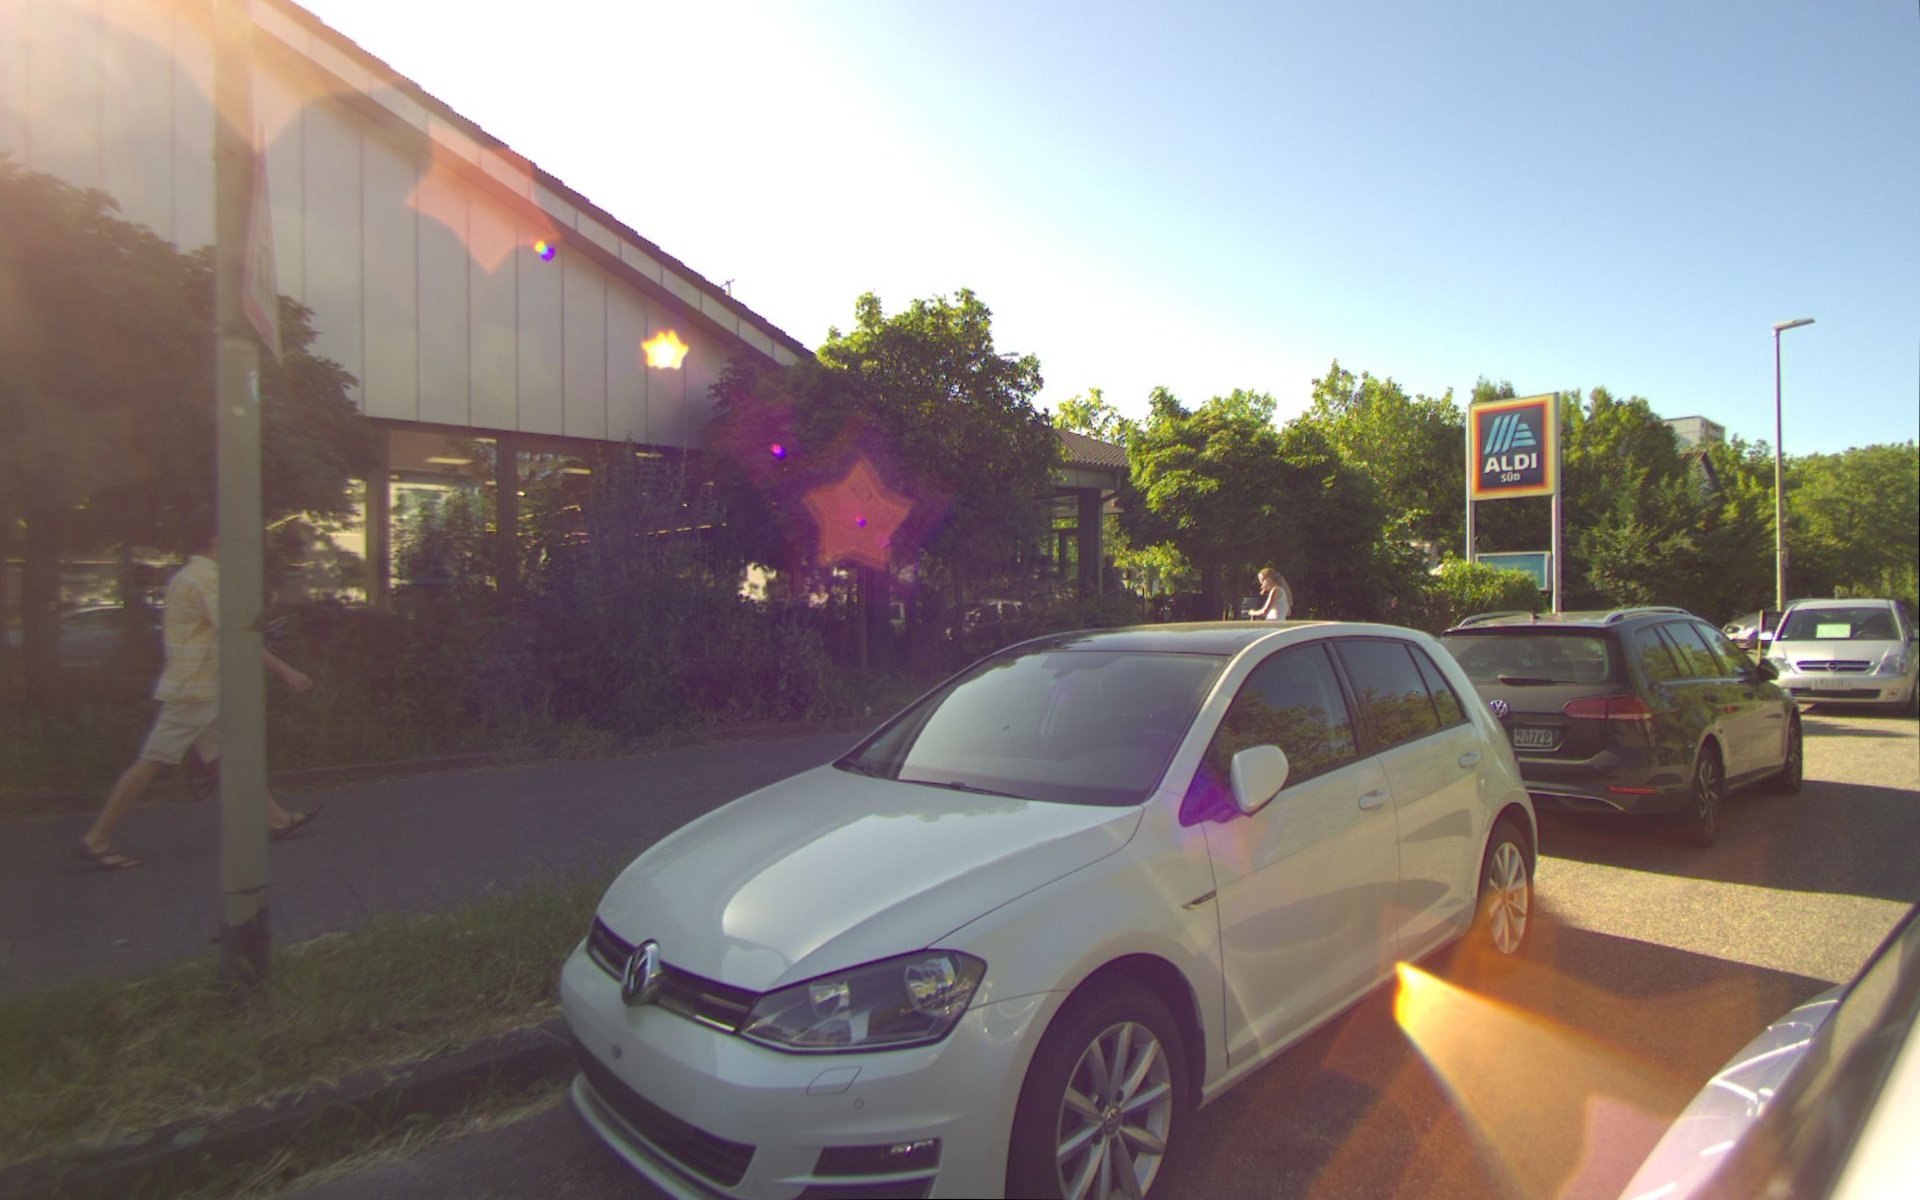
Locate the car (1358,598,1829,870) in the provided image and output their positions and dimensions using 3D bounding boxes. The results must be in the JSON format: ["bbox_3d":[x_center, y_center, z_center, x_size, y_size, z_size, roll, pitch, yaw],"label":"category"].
[{"bbox_3d":[4.907,0.727,7.574,4.287,1.462,1.810,0,0,-41],"label":"car"}]

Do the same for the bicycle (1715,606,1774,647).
[{"bbox_3d":[25.450,0.833,32.817,1.857,1.235,0.724,-1,2,-25],"label":"bicycle"}]

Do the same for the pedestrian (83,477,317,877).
[{"bbox_3d":[-4.024,0.361,5.367,0.793,1.885,0.861,-1,-1,42],"label":"pedestrian"}]

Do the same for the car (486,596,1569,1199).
[{"bbox_3d":[0.596,0.741,3.772,3.932,1.470,1.828,-1,0,-43],"label":"car"}]

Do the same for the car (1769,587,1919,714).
[{"bbox_3d":[13.321,0.636,14.946,3.963,1.619,1.680,-1,0,-45],"label":"car"}]

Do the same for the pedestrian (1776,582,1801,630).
[{"bbox_3d":[29.091,0.192,35.536,0.780,1.629,0.573,-2,3,-44],"label":"pedestrian"}]

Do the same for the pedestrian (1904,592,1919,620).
[{"bbox_3d":[57.210,0.378,60.762,0.629,1.659,0.641,0,0,-38],"label":"pedestrian"}]

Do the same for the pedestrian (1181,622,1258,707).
[{"bbox_3d":[3.224,0.786,12.576,0.794,0.993,0.534,0,0,-33],"label":"pedestrian"}]

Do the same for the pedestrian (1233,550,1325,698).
[{"bbox_3d":[4.036,0.289,12.822,0.793,1.804,0.801,0,0,-33],"label":"pedestrian"}]

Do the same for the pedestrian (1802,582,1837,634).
[{"bbox_3d":[29.651,0.273,34.929,0.968,1.738,0.804,-2,3,-44],"label":"pedestrian"}]

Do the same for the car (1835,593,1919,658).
[{"bbox_3d":[25.731,0.649,26.557,3.705,1.666,1.846,0,0,18],"label":"car"}]

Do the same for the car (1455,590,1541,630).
[{"bbox_3d":[21.112,0.371,39.653,3.736,1.522,1.775,0,0,-41],"label":"car"}]
